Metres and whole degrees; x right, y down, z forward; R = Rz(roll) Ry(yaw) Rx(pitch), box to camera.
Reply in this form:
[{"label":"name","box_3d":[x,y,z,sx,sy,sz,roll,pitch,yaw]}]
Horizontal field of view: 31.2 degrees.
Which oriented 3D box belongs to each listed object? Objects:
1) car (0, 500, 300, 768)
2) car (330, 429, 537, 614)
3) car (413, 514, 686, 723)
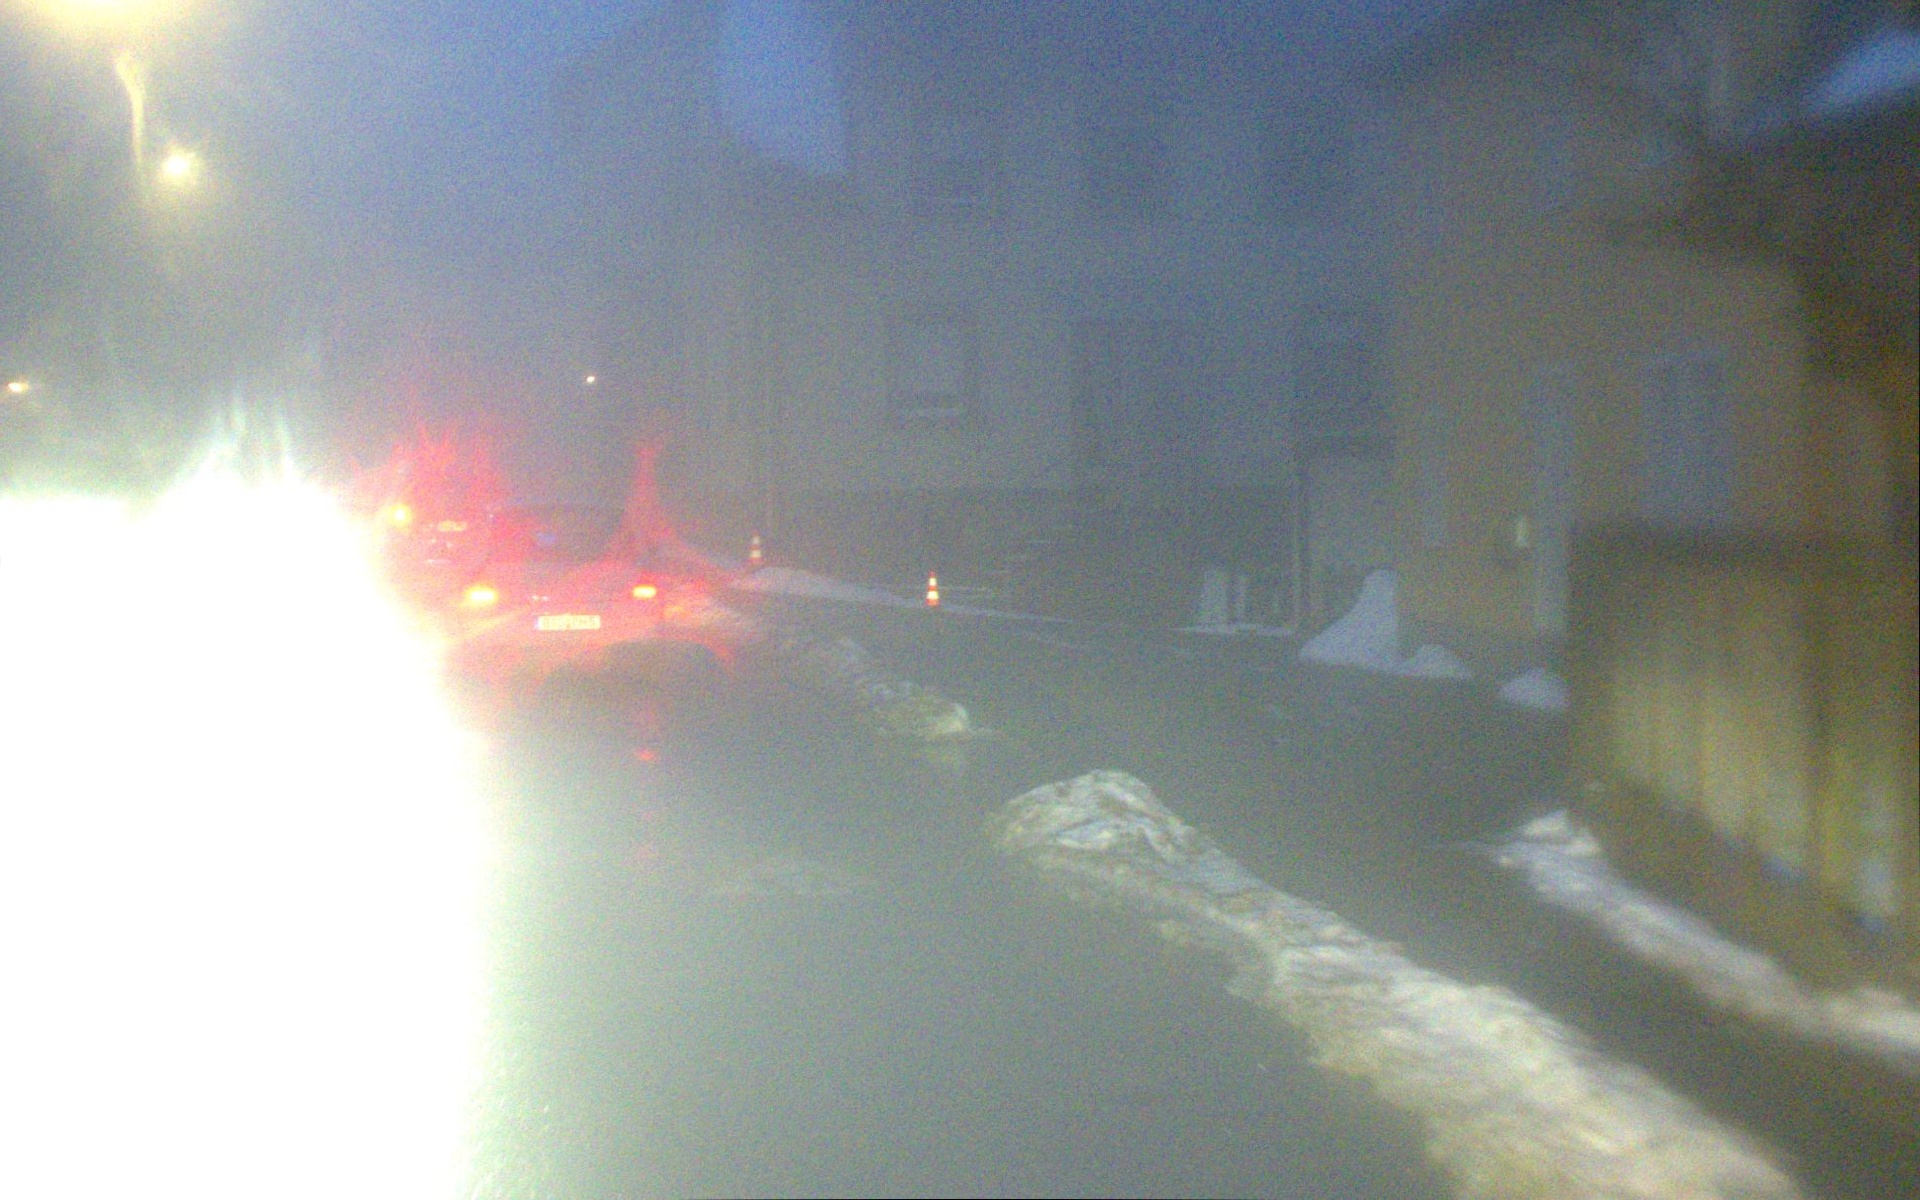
[{"label":"car","box_3d":[-5.744,0.202,23.917,1.840,1.681,4.479,0,0,-5]},{"label":"car","box_3d":[-6.242,-0.887,41.168,1.993,2.007,4.000,3,-1,-3]},{"label":"car","box_3d":[-3.372,0.151,28.109,1.993,1.503,4.001,3,-1,-7]}]
